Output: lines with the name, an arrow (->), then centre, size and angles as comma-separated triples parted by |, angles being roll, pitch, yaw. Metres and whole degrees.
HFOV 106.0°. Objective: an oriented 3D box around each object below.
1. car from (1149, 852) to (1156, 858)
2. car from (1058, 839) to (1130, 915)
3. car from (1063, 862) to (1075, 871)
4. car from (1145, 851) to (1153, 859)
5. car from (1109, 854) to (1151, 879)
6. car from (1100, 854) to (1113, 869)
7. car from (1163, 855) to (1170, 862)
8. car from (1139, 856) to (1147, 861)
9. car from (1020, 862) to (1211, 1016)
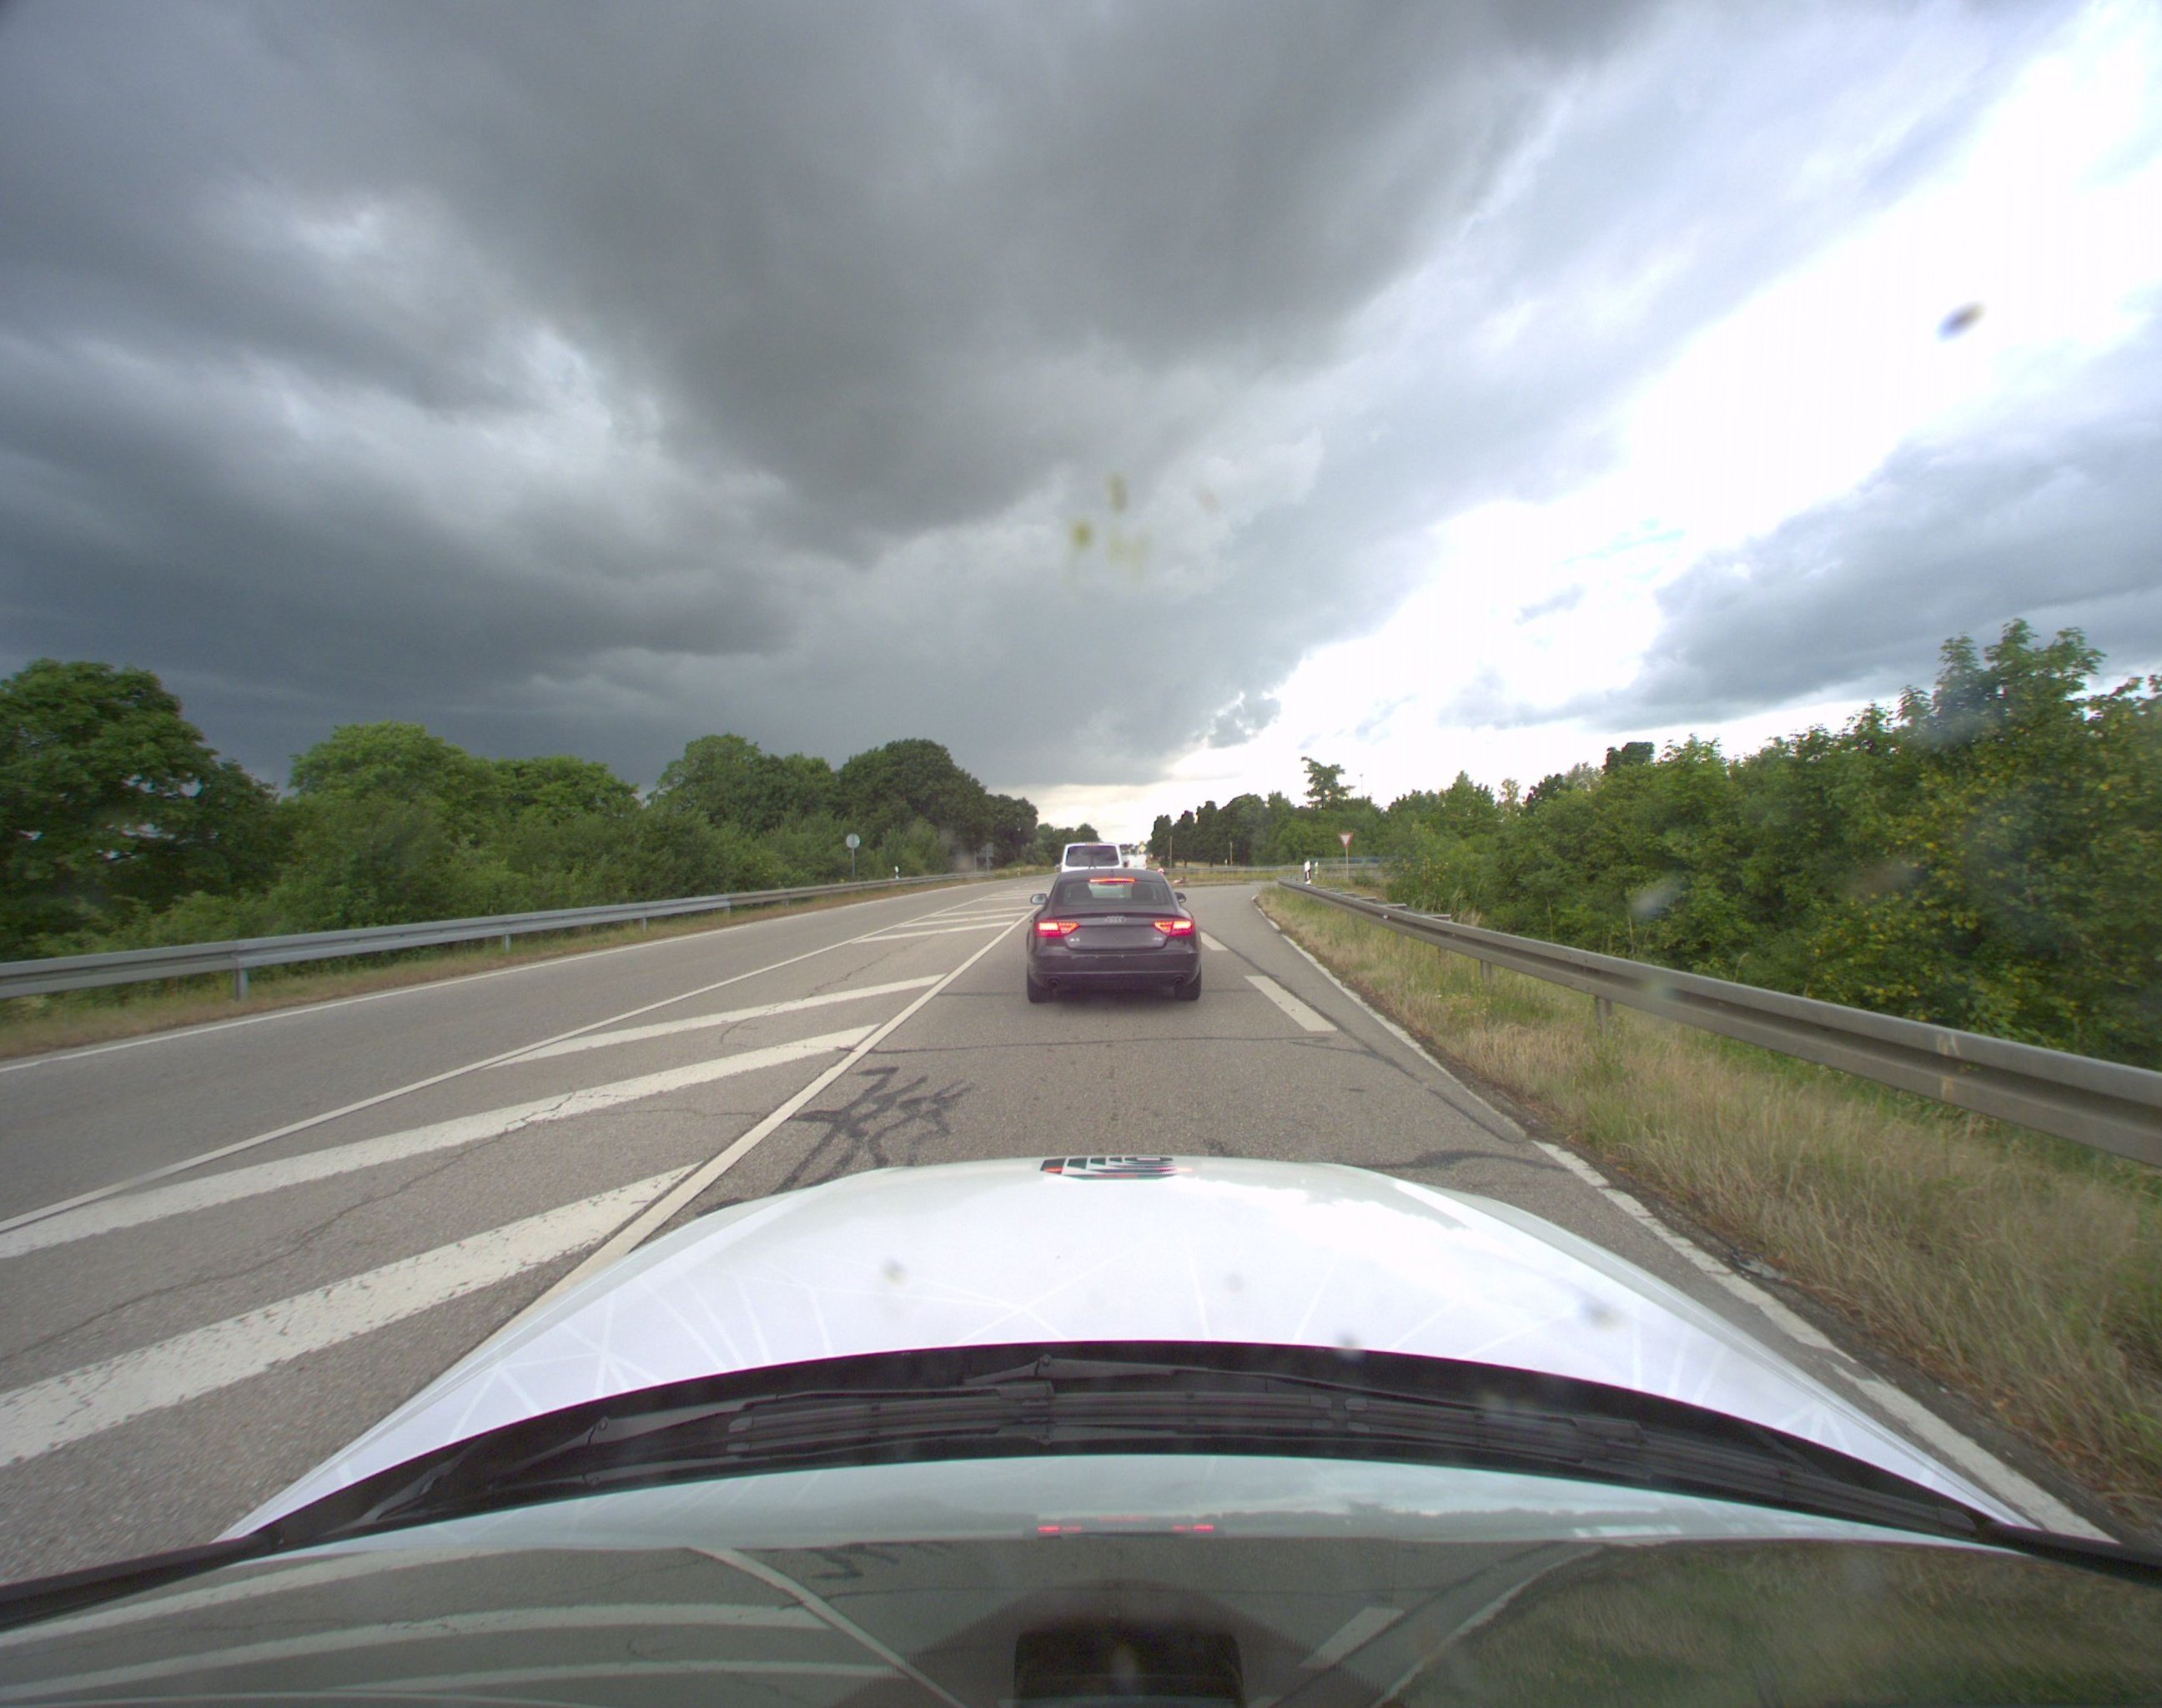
car -> 21.007, 0.403, 240.512 | 1.985, 1.692, 4.004 | -1, 0, 3
car -> 0.375, 0.604, 23.676 | 1.904, 2.013, 4.000 | -1, 0, 1
car -> -2.005, 2.014, 134.725 | 1.791, 1.398, 3.485 | -1, 0, 2
car -> 18.497, 0.306, 221.291 | 1.985, 2.013, 4.004 | -1, 0, 3
car -> 4.190, 1.054, 70.863 | 2.086, 2.064, 4.847 | -1, 0, -17
car -> 4.035, 1.152, 128.134 | 1.986, 2.408, 4.002 | 1, 0, 2
car -> 24.600, 1.286, 233.119 | 1.865, 1.692, 4.008 | -1, 0, 7
car -> 19.184, 1.449, 253.179 | 2.198, 1.582, 4.379 | -1, 0, 1
car -> 0.343, 0.814, 9.313 | 1.774, 1.398, 3.336 | -1, 0, 0
